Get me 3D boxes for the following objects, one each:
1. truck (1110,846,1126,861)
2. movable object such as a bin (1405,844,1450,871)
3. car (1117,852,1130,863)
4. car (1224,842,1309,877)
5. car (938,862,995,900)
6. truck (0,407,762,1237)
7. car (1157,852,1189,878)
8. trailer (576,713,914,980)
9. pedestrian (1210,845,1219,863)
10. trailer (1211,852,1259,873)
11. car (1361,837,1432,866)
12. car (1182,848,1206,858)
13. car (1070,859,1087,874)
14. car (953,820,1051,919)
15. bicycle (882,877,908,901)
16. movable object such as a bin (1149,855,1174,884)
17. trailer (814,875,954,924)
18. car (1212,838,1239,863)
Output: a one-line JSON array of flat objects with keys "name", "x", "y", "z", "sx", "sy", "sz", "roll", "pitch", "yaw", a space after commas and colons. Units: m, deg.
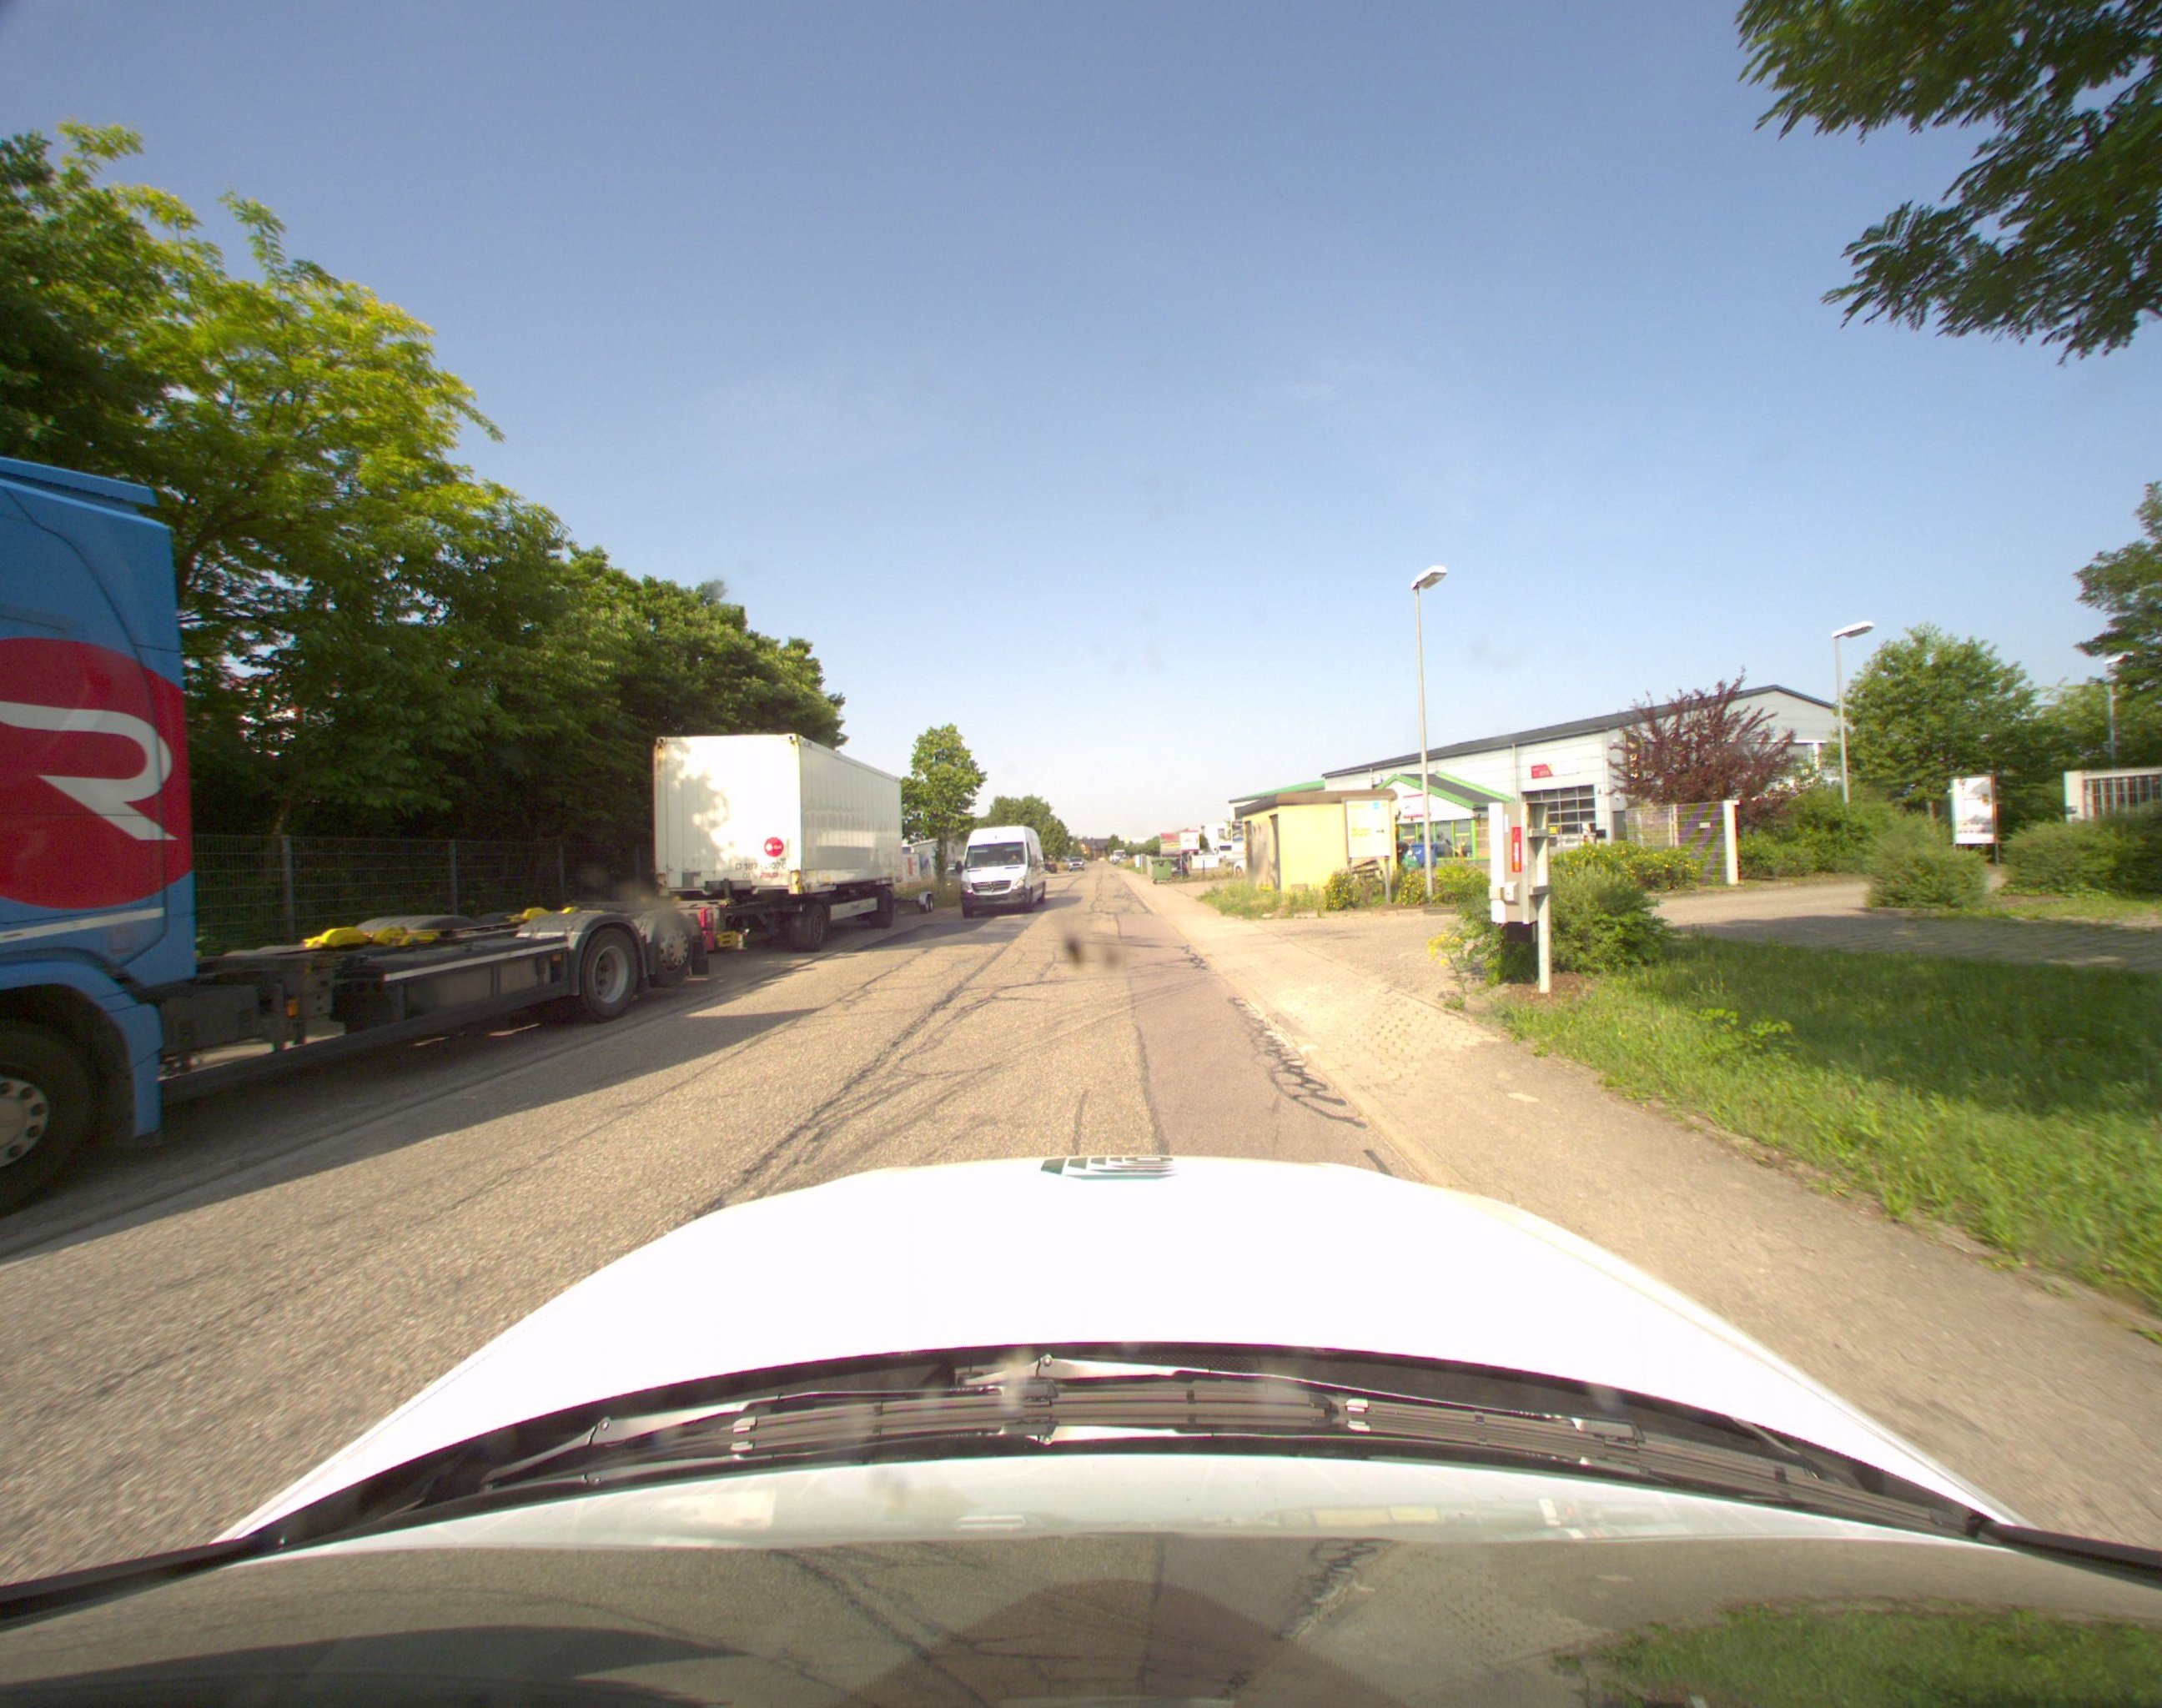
[{"name": "truck", "x": 6.764, "y": -0.087, "z": 149.508, "sx": 2.353, "sy": 2.681, "sz": 6.505, "roll": -3, "pitch": 0, "yaw": -2}, {"name": "movable object such as a bin", "x": 18.050, "y": 0.193, "z": 42.488, "sx": 1.000, "sy": 1.345, "sz": 1.994, "roll": -3, "pitch": 0, "yaw": -21}, {"name": "car", "x": 6.484, "y": 0.536, "z": 125.660, "sx": 1.788, "sy": 1.517, "sz": 4.425, "roll": -3, "pitch": 0, "yaw": 1}, {"name": "car", "x": 8.658, "y": 0.298, "z": 38.346, "sx": 1.695, "sy": 1.466, "sz": 4.230, "roll": -3, "pitch": 0, "yaw": -23}, {"name": "car", "x": -5.026, "y": 1.136, "z": 36.213, "sx": 1.680, "sy": 1.470, "sz": 4.096, "roll": -3, "pitch": 0, "yaw": 3}, {"name": "truck", "x": -6.280, "y": -0.123, "z": 7.224, "sx": 2.702, "sy": 3.884, "sz": 9.640, "roll": -1, "pitch": 0, "yaw": 2}, {"name": "car", "x": 5.351, "y": 0.624, "z": 47.379, "sx": 1.665, "sy": 1.368, "sz": 4.401, "roll": -3, "pitch": 0, "yaw": 6}, {"name": "trailer", "x": -5.978, "y": -0.092, "z": 16.948, "sx": 2.690, "sy": 3.884, "sz": 9.767, "roll": -1, "pitch": 0, "yaw": 1}, {"name": "pedestrian", "x": 12.500, "y": 0.034, "z": 76.327, "sx": 0.699, "sy": 1.640, "sz": 0.749, "roll": -3, "pitch": -1, "yaw": 3}, {"name": "trailer", "x": 9.613, "y": 0.530, "z": 50.917, "sx": 1.497, "sy": 1.248, "sz": 2.953, "roll": -1, "pitch": 0, "yaw": -24}, {"name": "car", "x": 15.896, "y": -0.113, "z": 41.183, "sx": 1.585, "sy": 1.345, "sz": 3.166, "roll": -3, "pitch": 0, "yaw": -21}, {"name": "car", "x": 19.944, "y": -0.182, "z": 143.468, "sx": 4.560, "sy": 1.589, "sz": 1.667, "roll": -3, "pitch": 0, "yaw": -43}, {"name": "car", "x": -0.290, "y": 1.487, "z": 99.511, "sx": 1.805, "sy": 1.627, "sz": 4.250, "roll": -3, "pitch": 0, "yaw": 1}, {"name": "car", "x": -2.271, "y": 0.420, "z": 25.513, "sx": 1.986, "sy": 2.547, "sz": 6.992, "roll": -4, "pitch": 0, "yaw": 2}, {"name": "bicycle", "x": -8.601, "y": 1.606, "z": 37.779, "sx": 0.560, "sy": 0.973, "sz": 2.453, "roll": -3, "pitch": 0, "yaw": 1}, {"name": "movable object such as a bin", "x": 4.073, "y": 0.778, "z": 41.495, "sx": 1.077, "sy": 1.353, "sz": 1.506, "roll": -5, "pitch": 0, "yaw": 2}, {"name": "trailer", "x": -5.777, "y": 1.307, "z": 24.950, "sx": 2.640, "sy": 0.985, "sz": 6.243, "roll": -3, "pitch": 0, "yaw": 1}, {"name": "car", "x": 16.480, "y": -0.407, "z": 93.214, "sx": 1.967, "sy": 2.705, "sz": 5.881, "roll": -3, "pitch": 0, "yaw": 1}]
